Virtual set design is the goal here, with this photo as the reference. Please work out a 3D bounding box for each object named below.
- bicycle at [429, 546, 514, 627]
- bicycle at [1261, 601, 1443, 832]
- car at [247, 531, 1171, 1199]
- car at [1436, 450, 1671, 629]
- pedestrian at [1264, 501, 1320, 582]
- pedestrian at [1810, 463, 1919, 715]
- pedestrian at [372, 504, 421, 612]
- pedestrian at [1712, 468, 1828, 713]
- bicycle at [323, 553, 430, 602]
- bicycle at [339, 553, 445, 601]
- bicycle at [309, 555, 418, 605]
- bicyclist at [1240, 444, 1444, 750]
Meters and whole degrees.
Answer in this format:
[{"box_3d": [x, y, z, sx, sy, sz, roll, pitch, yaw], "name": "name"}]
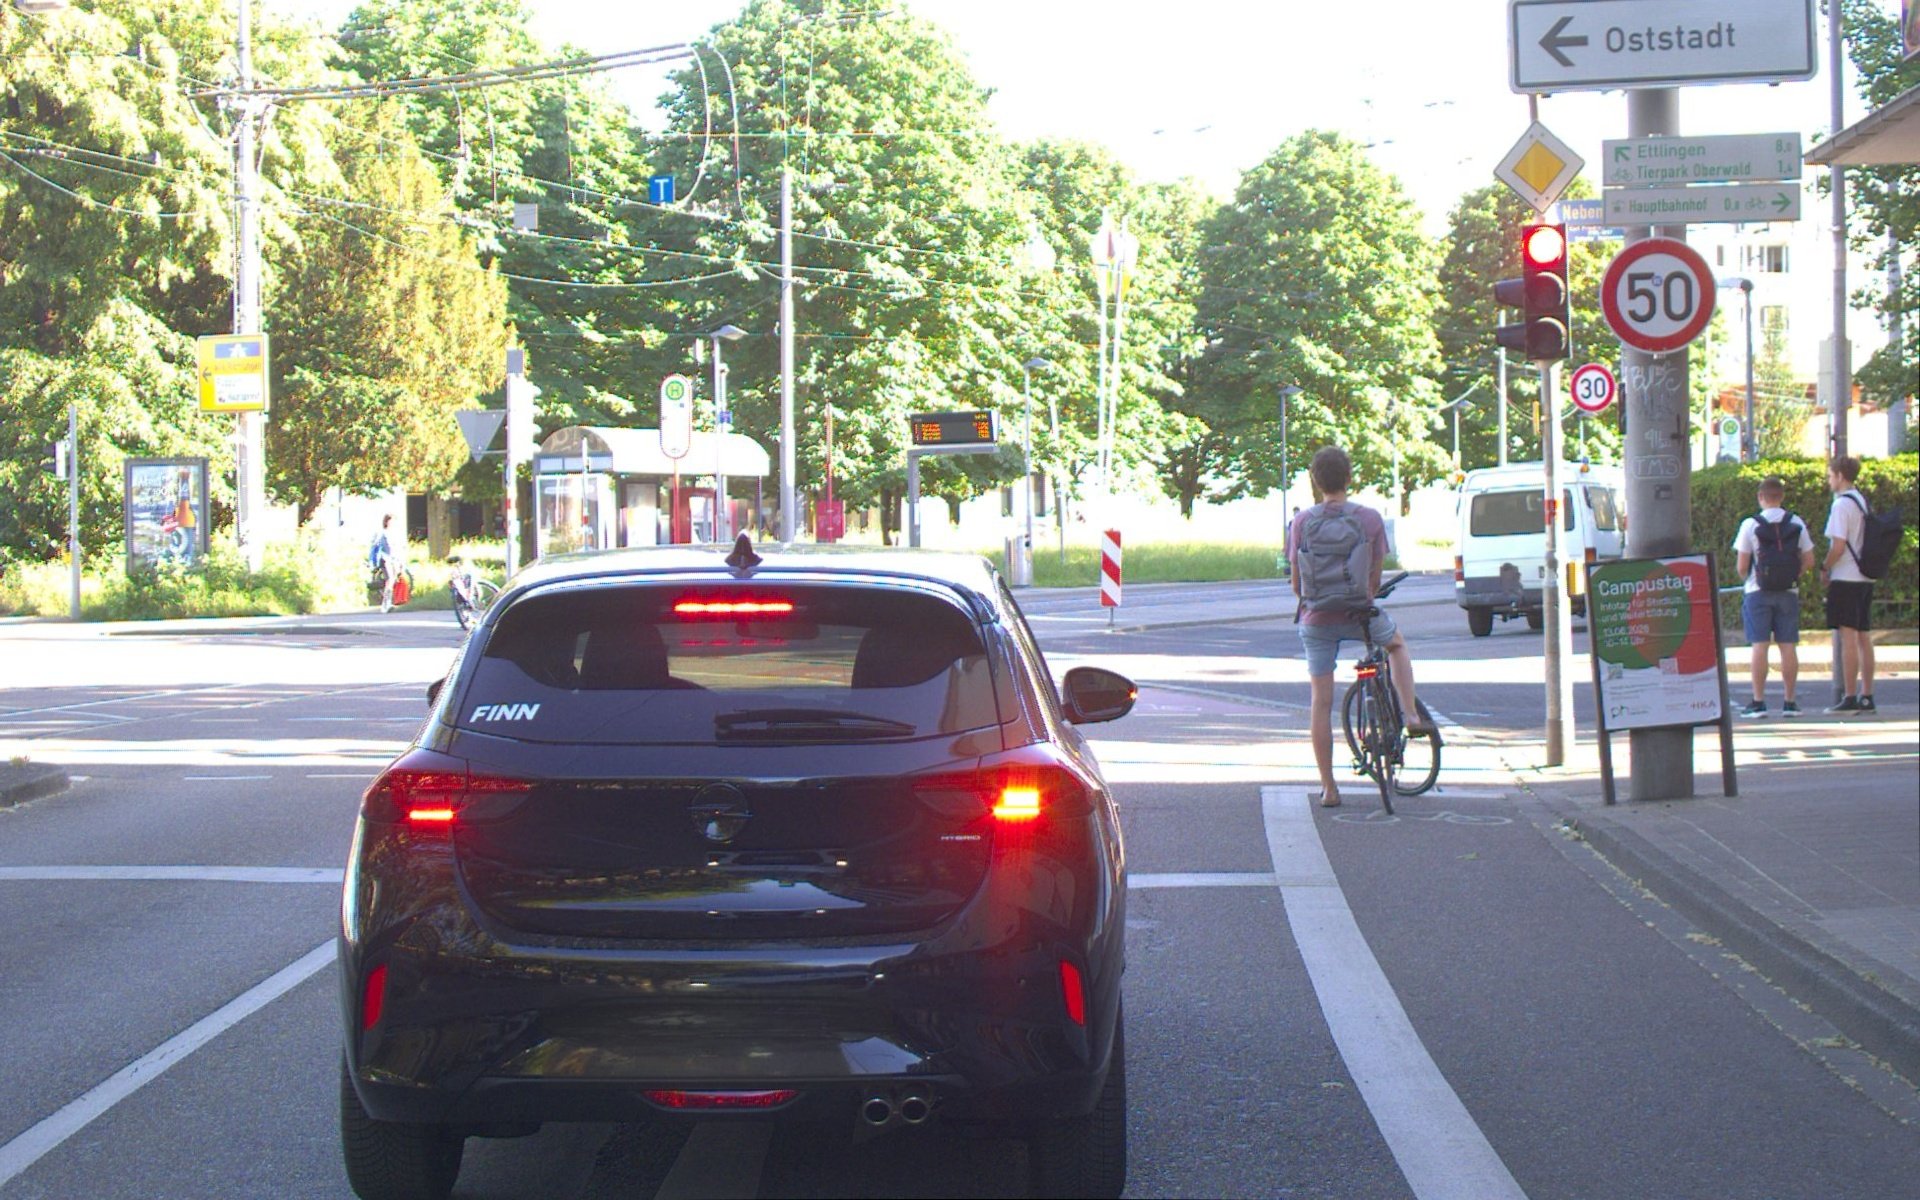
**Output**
[{"box_3d": [-6.616, -0.190, 46.631, 0.825, 1.056, 1.883, 0, 1, 2], "name": "bicycle"}, {"box_3d": [1.984, 0.562, 17.634, 0.667, 1.056, 2.082, 0, 1, -1], "name": "bicycle"}, {"box_3d": [-0.460, 0.562, 8.708, 1.800, 1.436, 3.940, -1, 1, 1], "name": "car"}, {"box_3d": [7.993, -0.789, 46.020, 2.092, 2.270, 4.301, 1, 1, 24], "name": "car"}, {"box_3d": [7.388, -1.308, 76.412, 0.959, 1.786, 0.994, 0, 1, 25], "name": "pedestrian"}, {"box_3d": [6.792, -0.092, 25.522, 0.704, 1.840, 0.699, 0, 2, 39], "name": "pedestrian"}, {"box_3d": [-8.884, -0.673, 54.226, 0.725, 1.687, 0.701, -1, 1, -10], "name": "pedestrian"}, {"box_3d": [5.997, -0.075, 25.477, 0.698, 1.786, 0.617, -1, 1, -1], "name": "pedestrian"}, {"box_3d": [-10.994, -0.434, 64.823, 1.877, 0.903, 0.659, 0, 1, 7], "name": "bicycle"}, {"box_3d": [-10.855, -0.441, 65.693, 1.877, 0.903, 0.659, 0, 1, 7], "name": "bicycle"}, {"box_3d": [-11.078, -0.366, 63.839, 1.877, 0.903, 0.659, 0, 1, 7], "name": "bicycle"}, {"box_3d": [1.942, -0.034, 17.645, 0.840, 1.504, 1.369, 0, 1, -2], "name": "bicyclist"}]
